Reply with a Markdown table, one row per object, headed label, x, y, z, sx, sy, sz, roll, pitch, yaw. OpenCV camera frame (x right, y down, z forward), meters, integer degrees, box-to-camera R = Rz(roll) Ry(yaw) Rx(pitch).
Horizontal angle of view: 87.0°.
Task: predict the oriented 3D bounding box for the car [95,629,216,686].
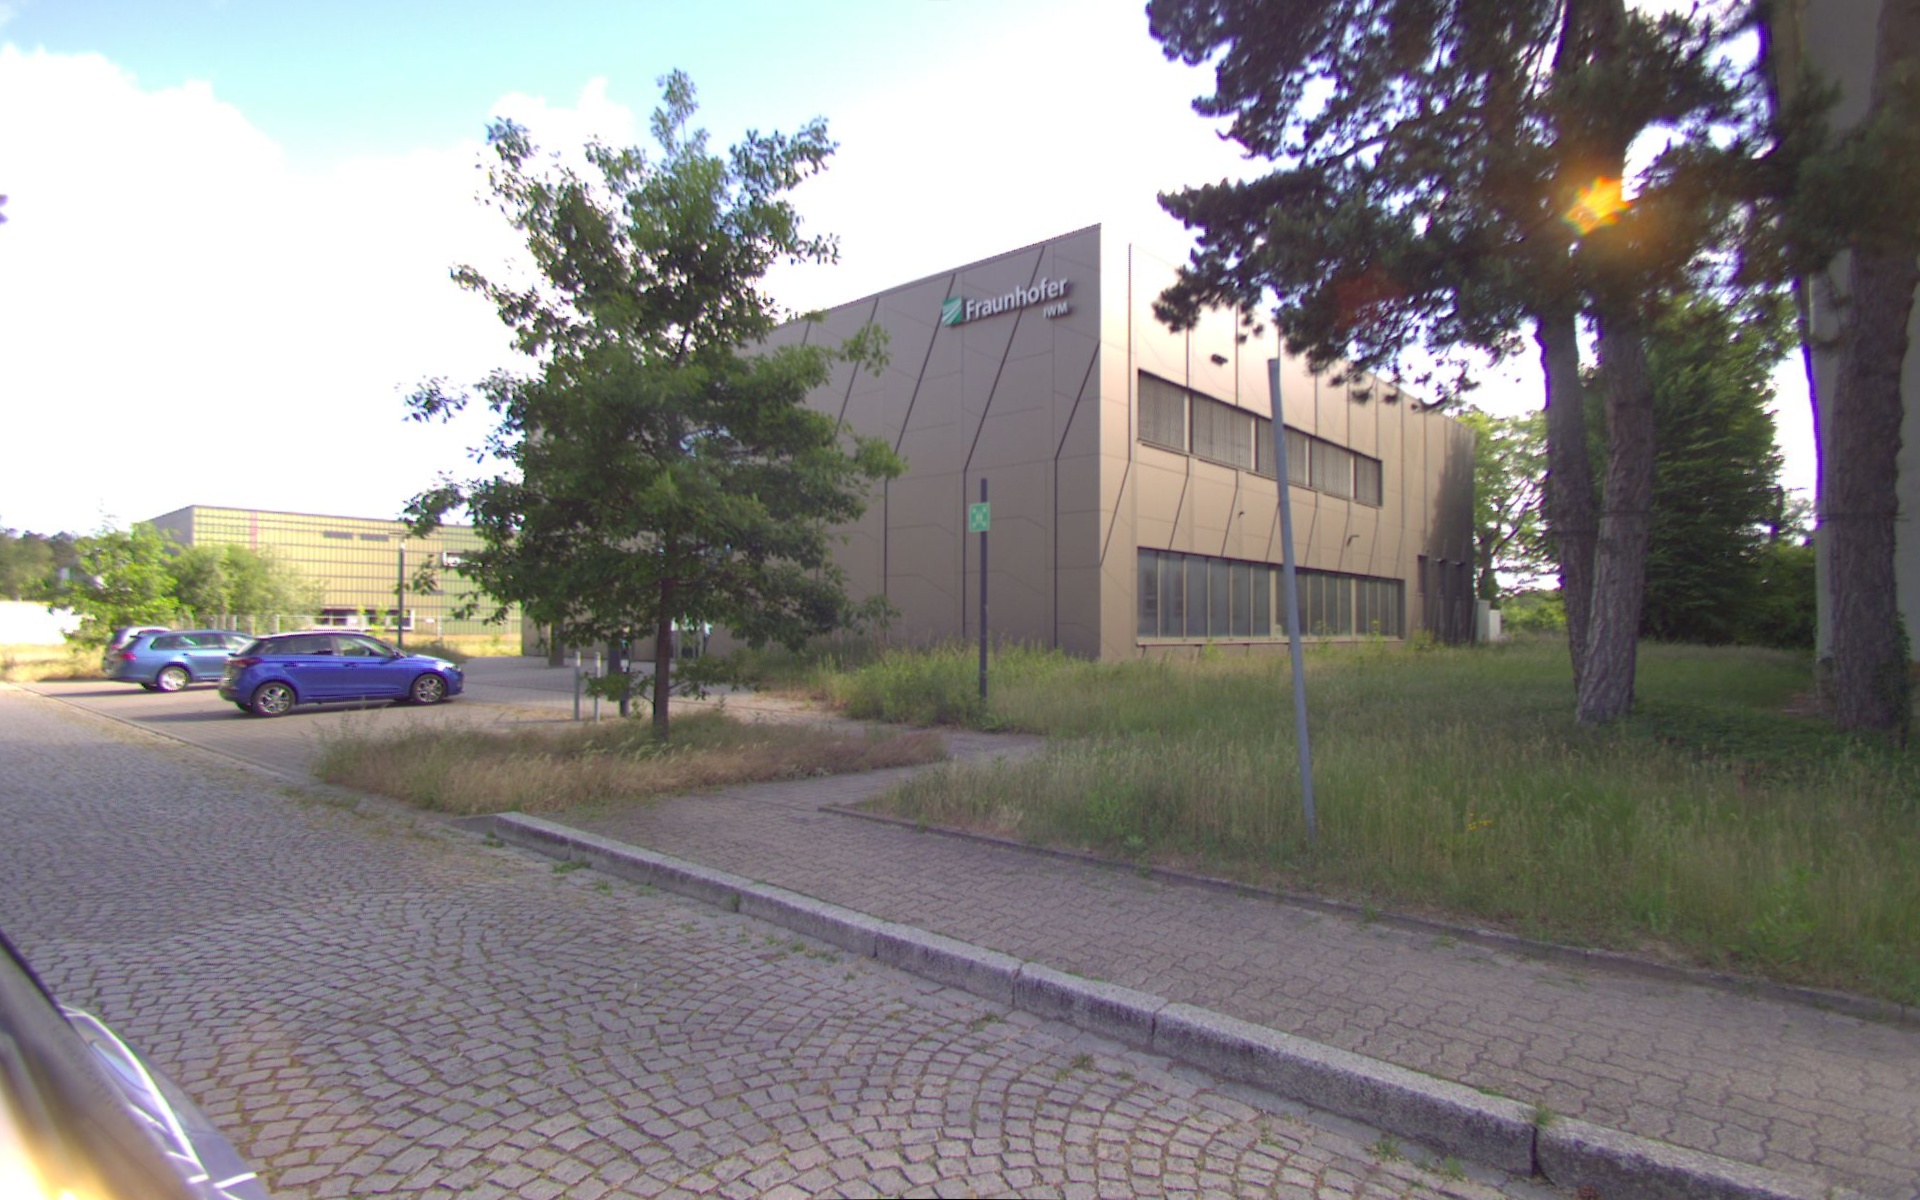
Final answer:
| label | x | y | z | sx | sy | sz | roll | pitch | yaw |
| --- | --- | --- | --- | --- | --- | --- | --- | --- | --- |
| car | -24.251 | 1.696 | 30.544 | 1.480 | 1.580 | 2.619 | -2 | -1 | 40 |

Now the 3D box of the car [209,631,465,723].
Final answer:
| label | x | y | z | sx | sy | sz | roll | pitch | yaw |
| --- | --- | --- | --- | --- | --- | --- | --- | --- | --- |
| car | -11.755 | 1.371 | 19.258 | 1.735 | 1.479 | 3.865 | -2 | -1 | 44 |

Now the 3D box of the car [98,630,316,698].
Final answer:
| label | x | y | z | sx | sy | sz | roll | pitch | yaw |
| --- | --- | --- | --- | --- | --- | --- | --- | --- | --- |
| car | -18.892 | 1.551 | 25.537 | 1.733 | 1.485 | 4.127 | -2 | -1 | 39 |
